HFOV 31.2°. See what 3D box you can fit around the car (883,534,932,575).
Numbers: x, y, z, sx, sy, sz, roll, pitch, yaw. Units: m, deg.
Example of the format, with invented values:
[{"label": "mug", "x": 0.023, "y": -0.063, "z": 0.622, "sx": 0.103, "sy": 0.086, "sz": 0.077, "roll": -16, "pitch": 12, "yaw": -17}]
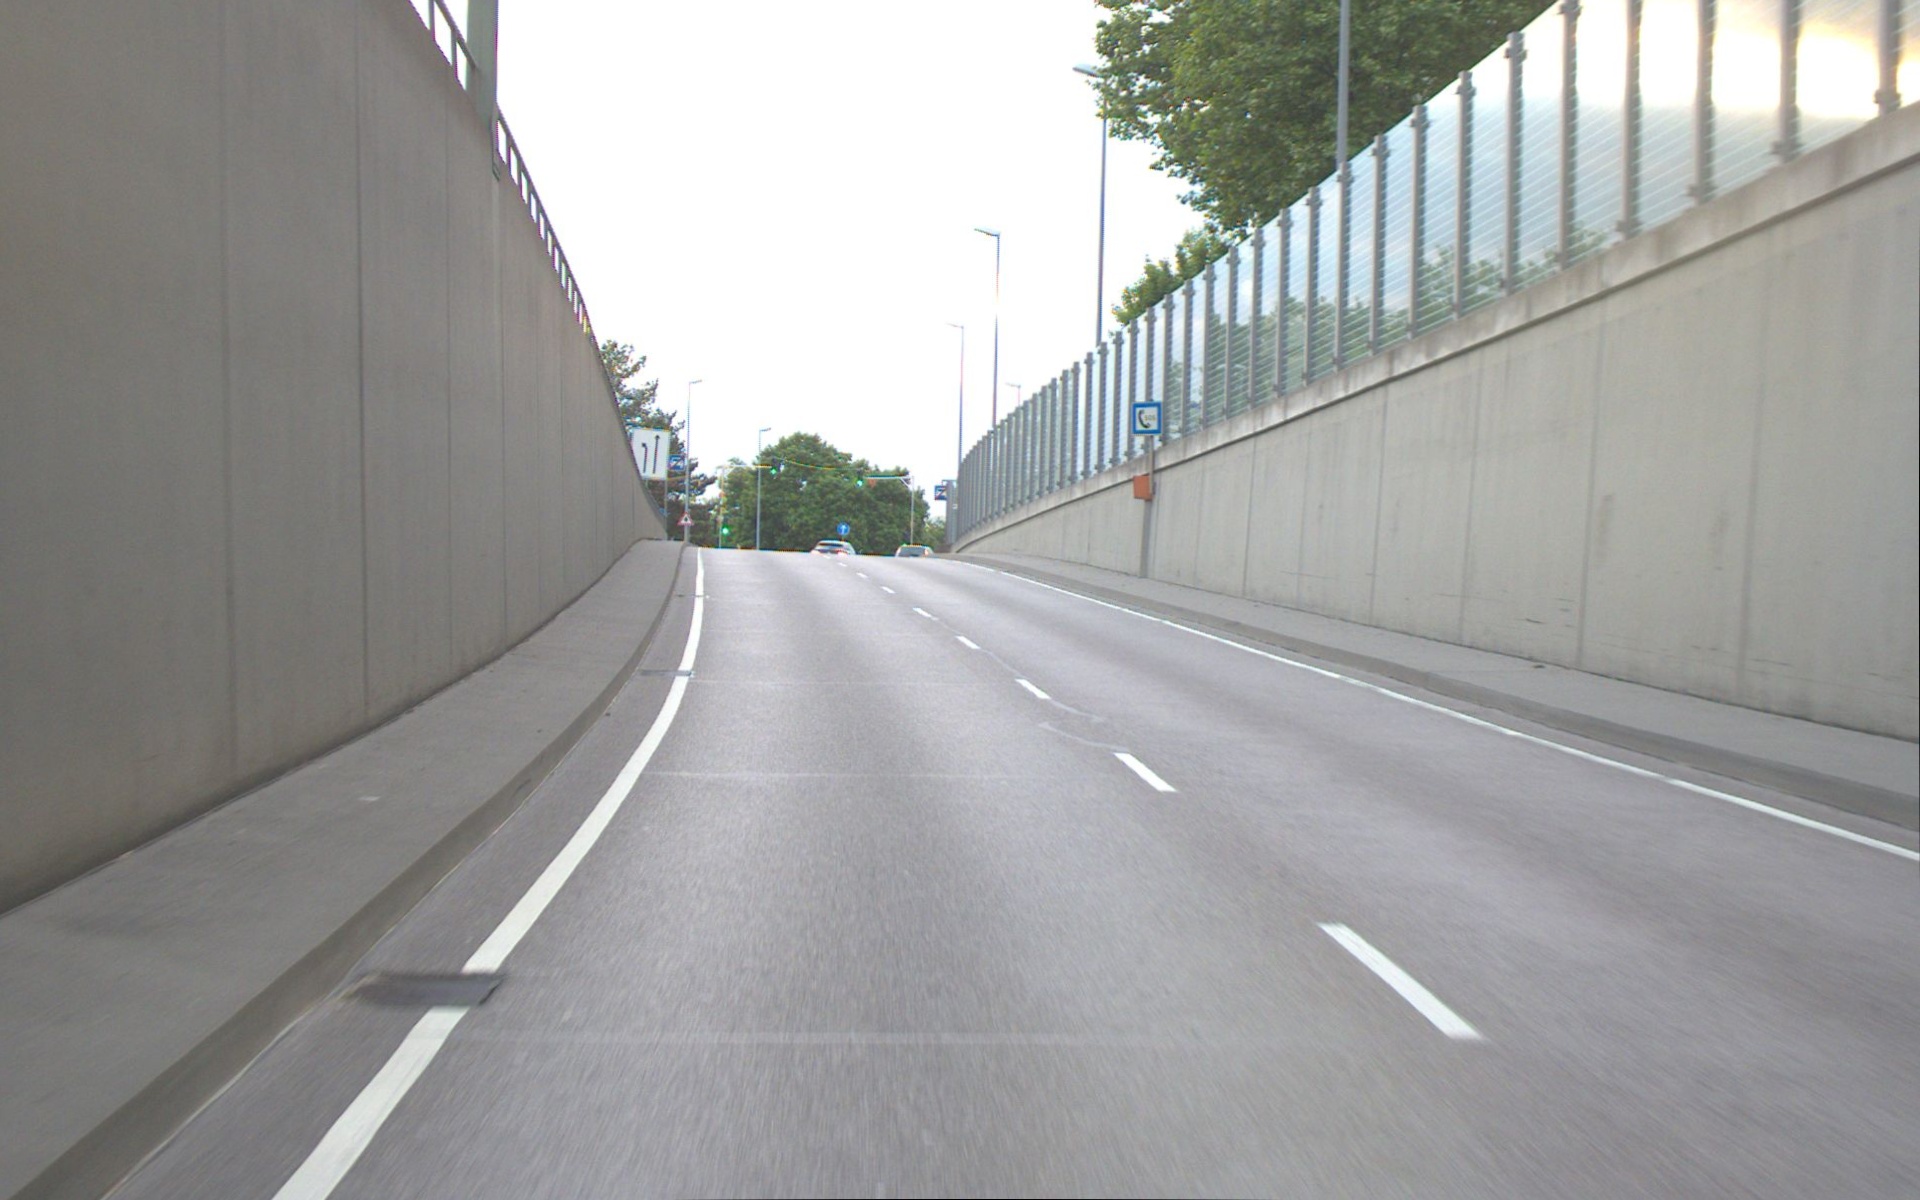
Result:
[{"label": "car", "x": -2.339, "y": -2.003, "z": 152.677, "sx": 1.869, "sy": 1.726, "sz": 4.001, "roll": 1, "pitch": 0, "yaw": -5}]
